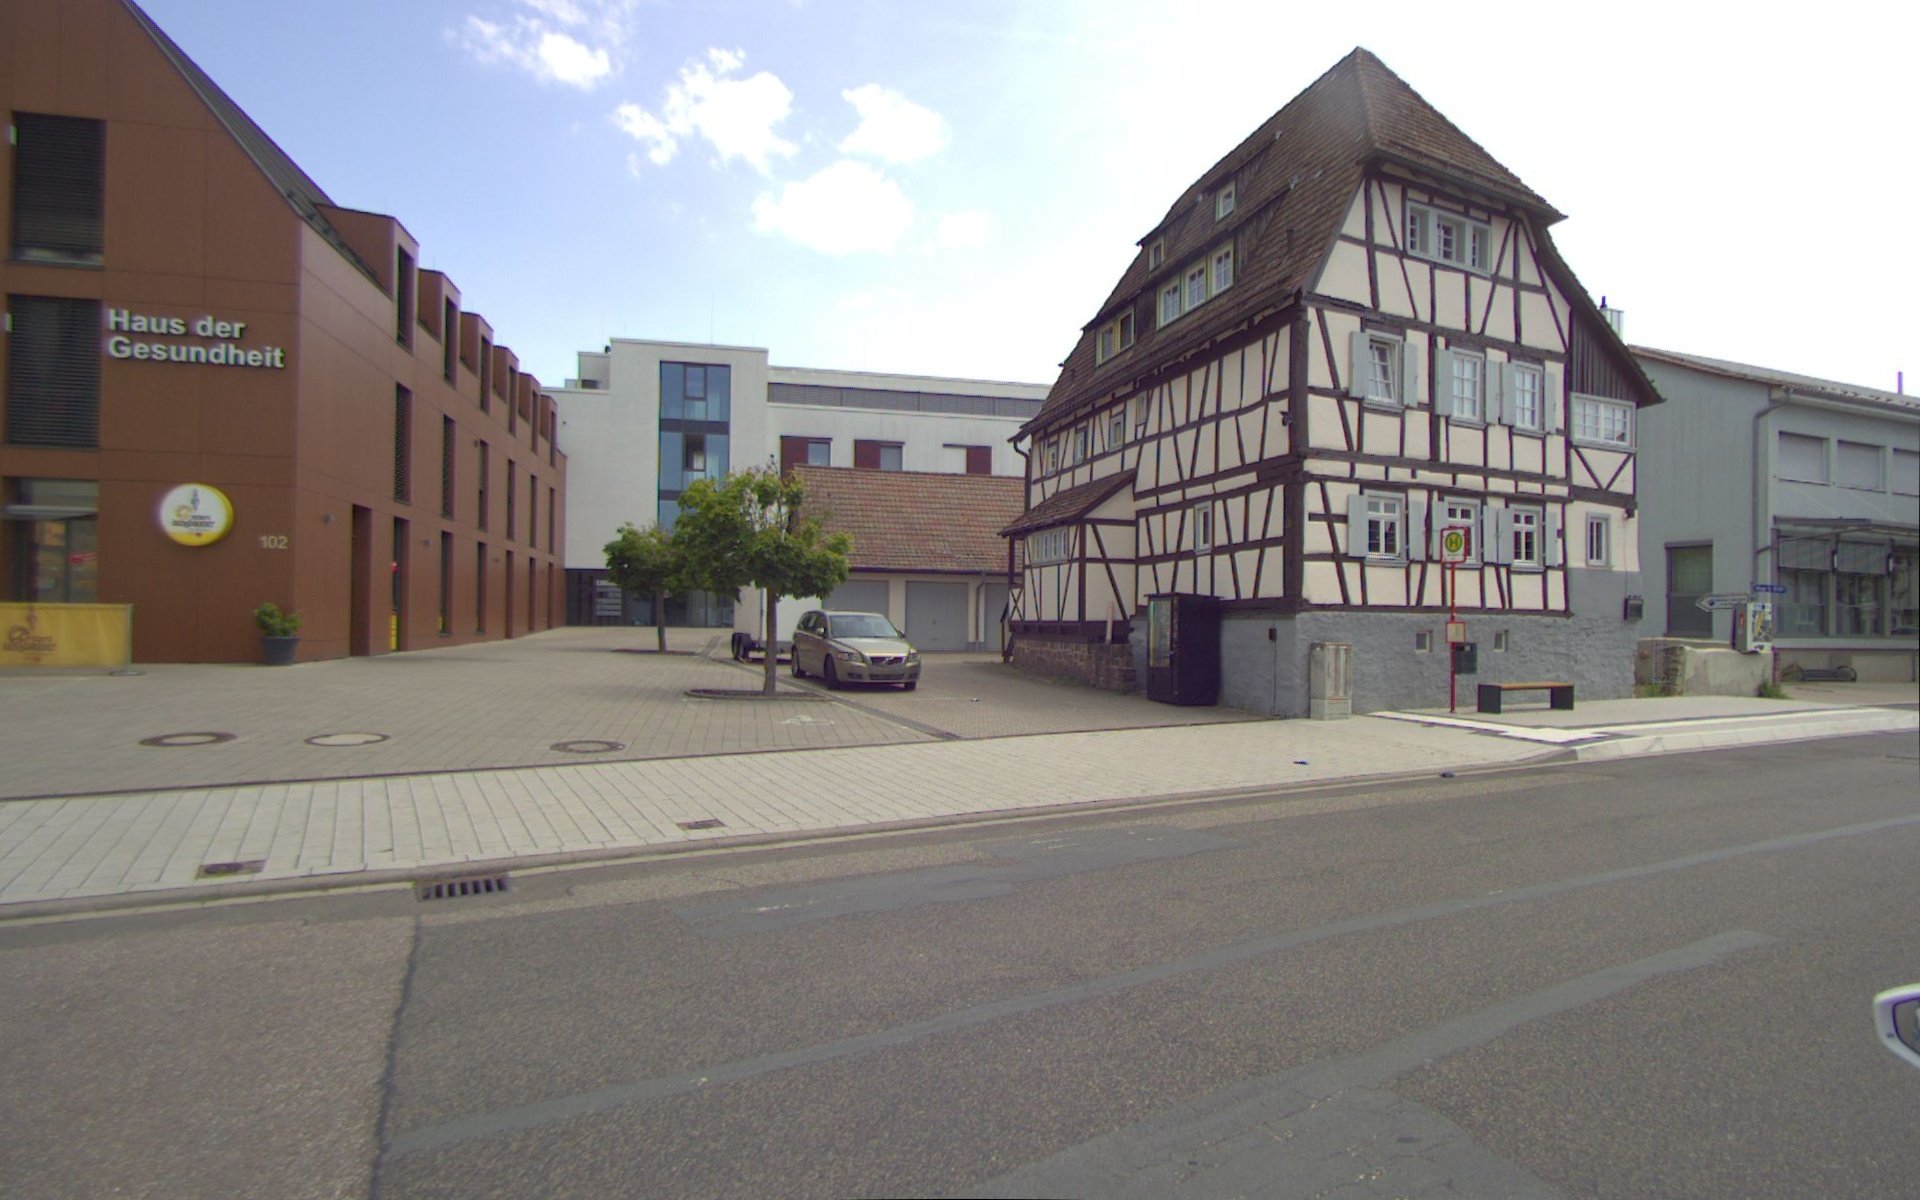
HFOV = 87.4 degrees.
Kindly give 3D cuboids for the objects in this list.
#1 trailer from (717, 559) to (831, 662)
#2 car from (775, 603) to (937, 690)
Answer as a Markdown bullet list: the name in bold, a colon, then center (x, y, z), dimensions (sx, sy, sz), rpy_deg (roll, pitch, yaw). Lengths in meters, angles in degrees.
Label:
- **trailer**: center (-4.988, 0.248, 26.415), dimensions (1.937, 2.458, 4.414), rpy_deg (2, 0, -24)
- **car**: center (-2.200, 0.842, 19.986), dimensions (1.937, 1.407, 4.414), rpy_deg (1, 1, -24)
